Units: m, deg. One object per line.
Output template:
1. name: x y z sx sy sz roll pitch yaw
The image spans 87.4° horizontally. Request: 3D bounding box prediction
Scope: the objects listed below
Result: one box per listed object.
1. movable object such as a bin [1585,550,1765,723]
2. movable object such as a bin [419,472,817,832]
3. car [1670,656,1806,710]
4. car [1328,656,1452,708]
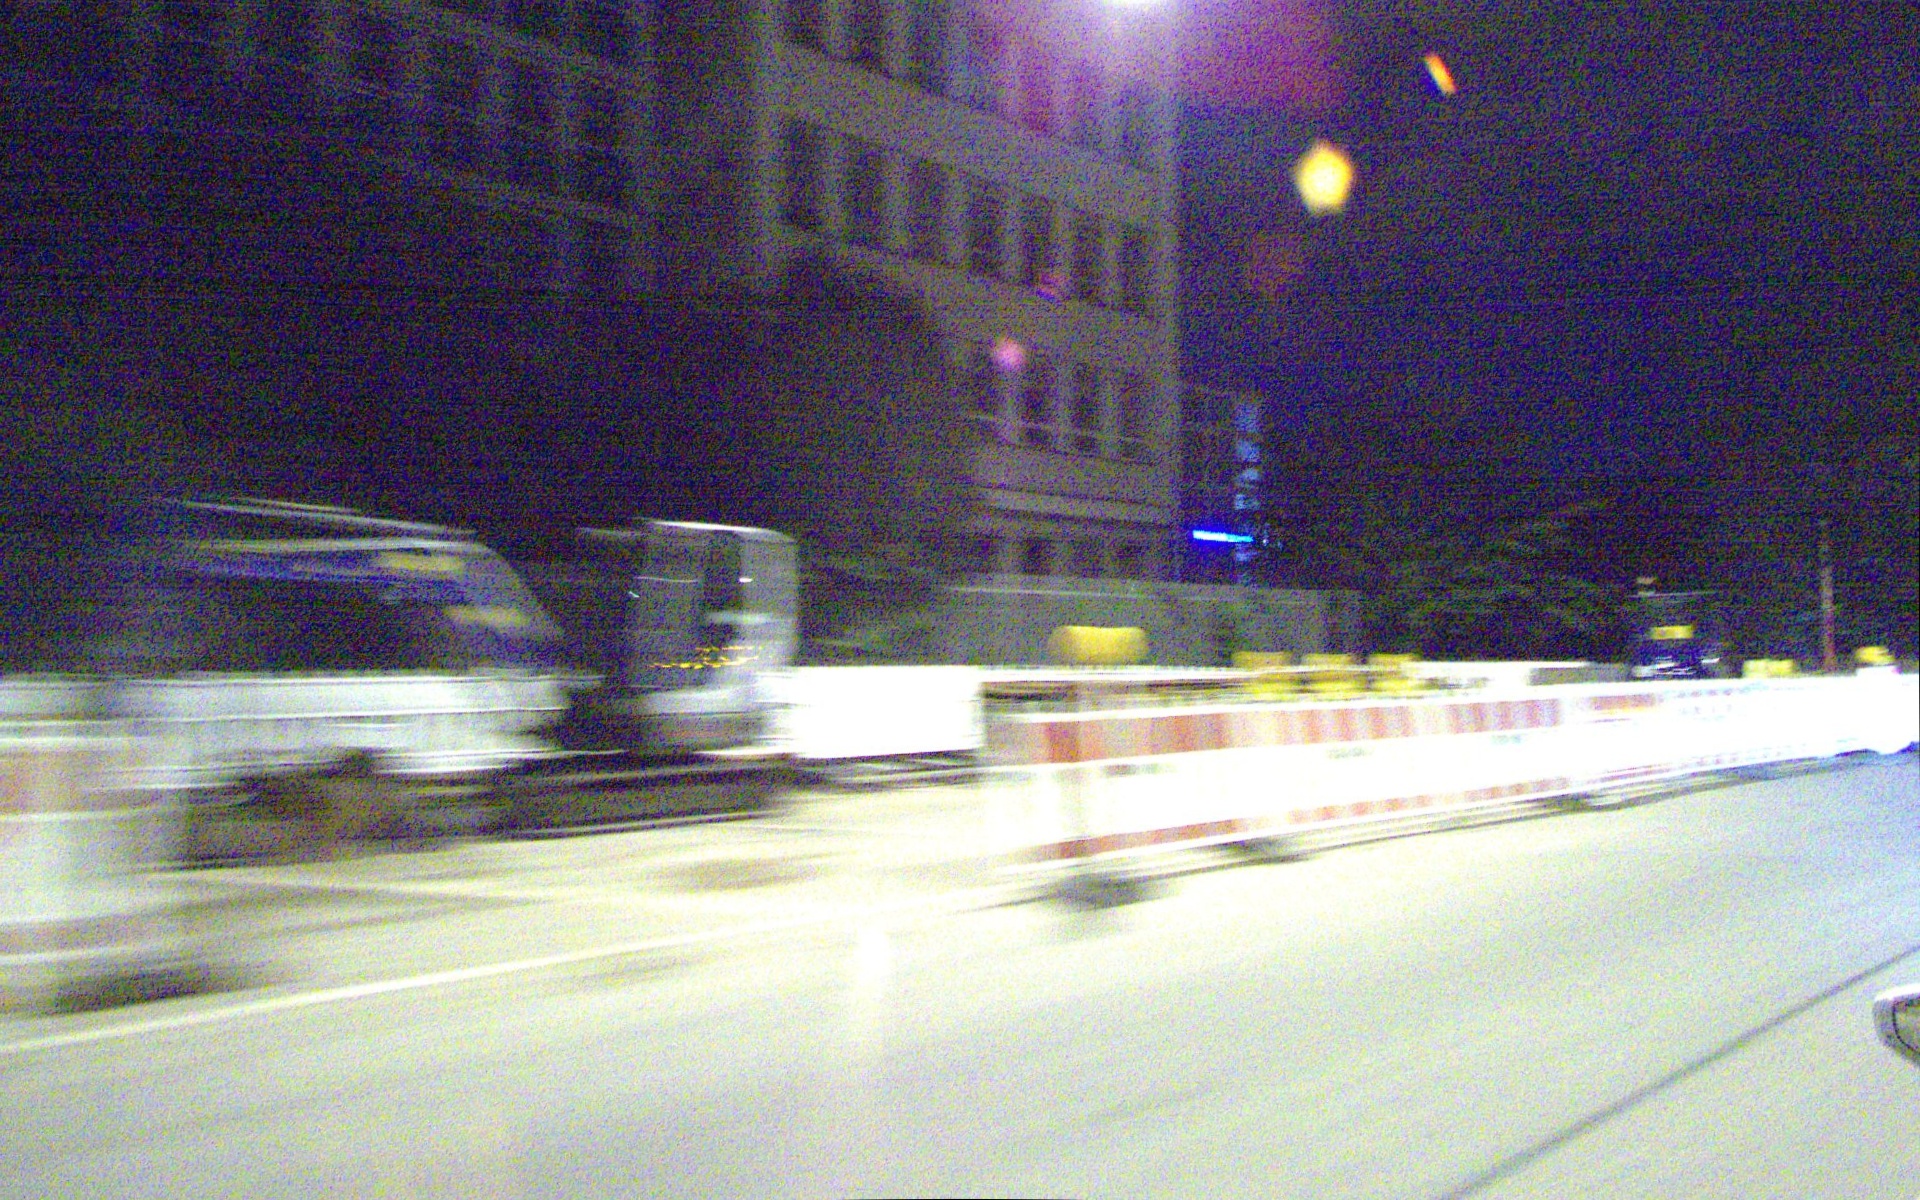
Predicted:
1. movable object such as a bin: 12.686 0.685 17.770 3.671 2.769 1.558 2 -6 -40
2. movable object such as a bin: -2.773 0.462 8.589 1.528 2.499 2.830 -3 -5 36
3. car: 43.453 4.592 56.146 6.558 2.879 1.997 1 -2 -9
4. car: 22.398 4.223 52.362 5.770 2.588 1.997 1 -2 -9
